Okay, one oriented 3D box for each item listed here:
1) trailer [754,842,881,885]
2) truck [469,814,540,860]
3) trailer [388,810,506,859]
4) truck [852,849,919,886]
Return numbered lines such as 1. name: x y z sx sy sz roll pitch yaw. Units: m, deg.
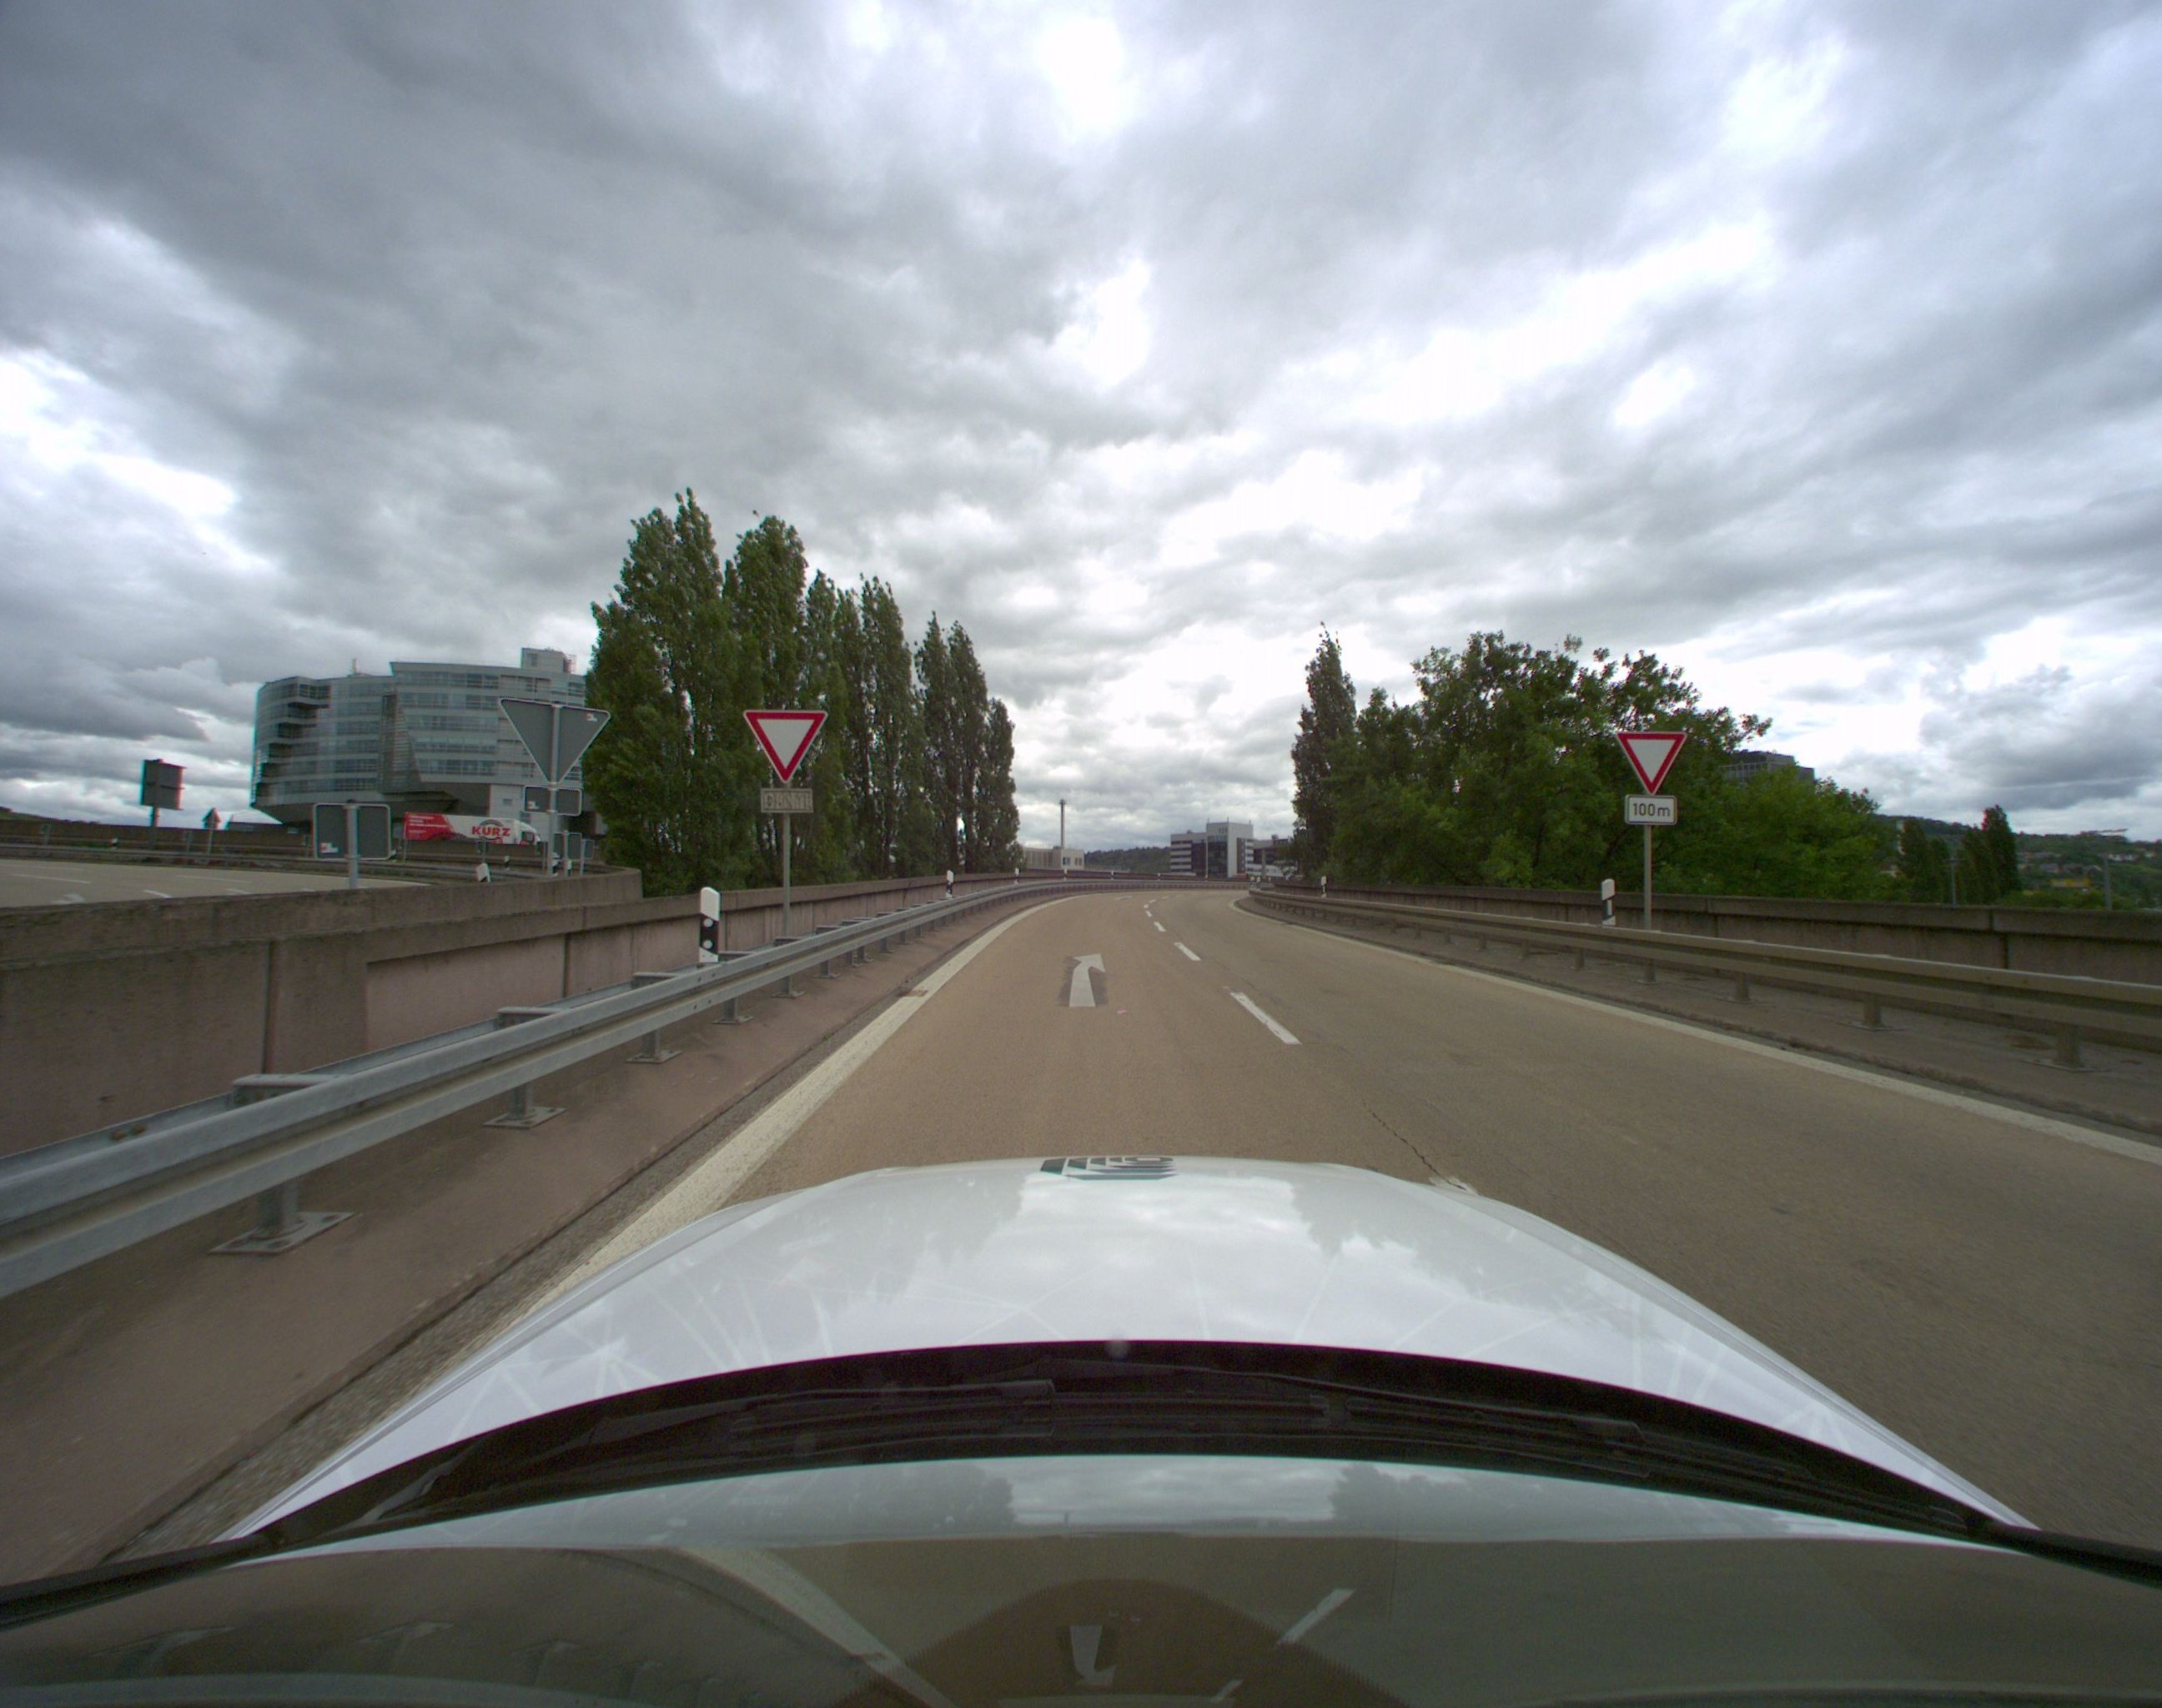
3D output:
1. trailer: -25.218 1.016 78.282 11.178 3.738 2.776 2 -3 -27
2. truck: -50.038 -1.444 70.815 4.447 3.691 2.676 2 -3 -26
3. trailer: -53.503 -1.593 69.038 7.327 3.691 2.675 2 -3 -27
4. truck: -19.526 1.395 81.232 5.977 3.431 2.753 2 -3 -27
